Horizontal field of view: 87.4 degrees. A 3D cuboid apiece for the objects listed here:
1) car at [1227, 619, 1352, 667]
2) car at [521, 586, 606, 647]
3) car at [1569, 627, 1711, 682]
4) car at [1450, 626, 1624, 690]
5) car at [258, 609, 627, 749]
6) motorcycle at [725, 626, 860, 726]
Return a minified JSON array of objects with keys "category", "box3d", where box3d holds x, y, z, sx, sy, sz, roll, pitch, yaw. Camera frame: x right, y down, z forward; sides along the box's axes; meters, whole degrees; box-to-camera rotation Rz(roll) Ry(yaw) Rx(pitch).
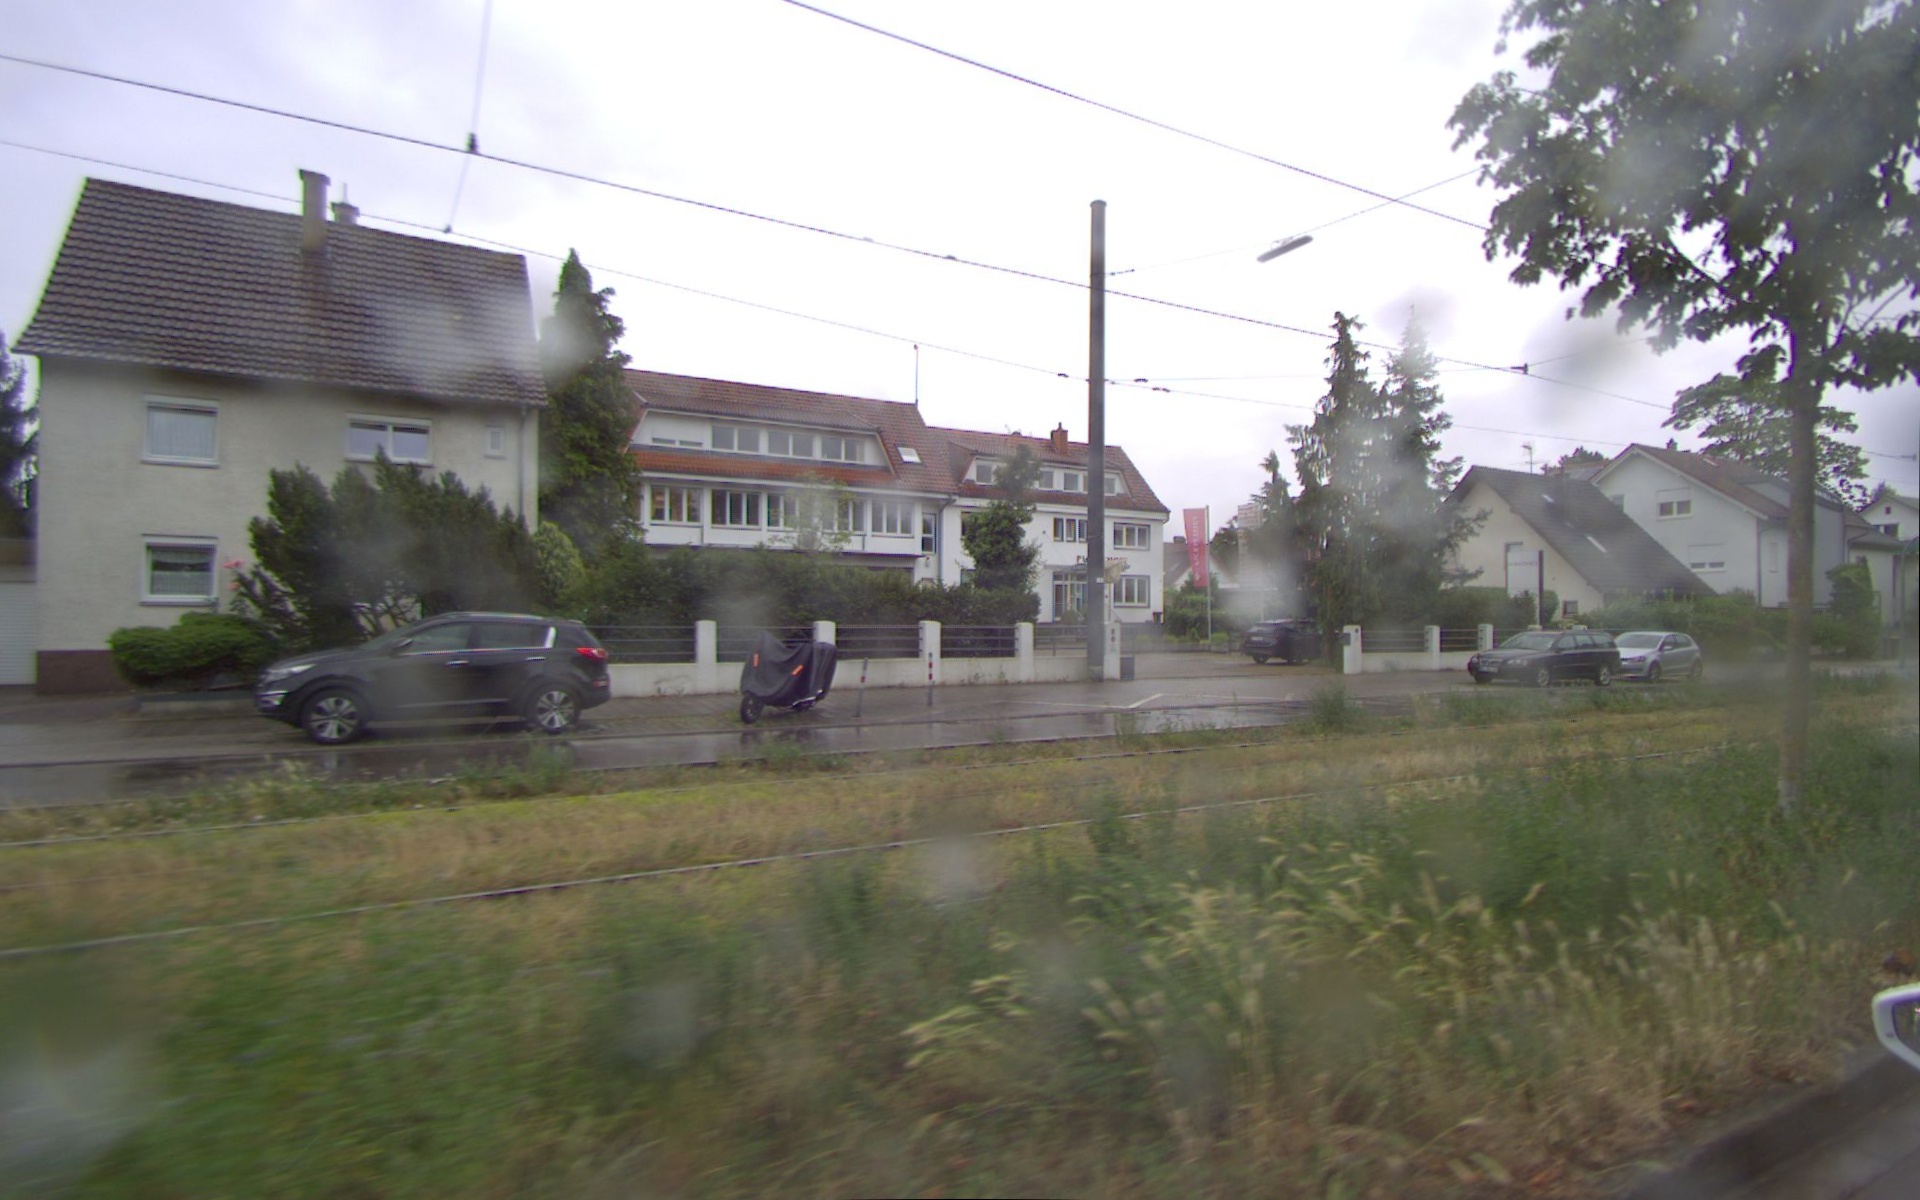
[{"category":"car","box3d":[11.217,1.427,34.175,3.872,1.475,1.984,0,1,-30]},{"category":"car","box3d":[-11.132,0.417,28.066,1.684,1.560,3.939,0,1,-30]},{"category":"car","box3d":[20.229,1.583,29.882,3.924,1.430,1.984,0,1,-30]},{"category":"car","box3d":[15.524,1.497,26.985,4.474,1.475,1.985,0,1,-28]},{"category":"car","box3d":[-7.147,0.999,14.153,4.338,1.697,1.983,1,-1,-32]},{"category":"motorcycle","box3d":[-2.684,1.186,16.592,1.241,1.429,2.689,2,0,13]}]
